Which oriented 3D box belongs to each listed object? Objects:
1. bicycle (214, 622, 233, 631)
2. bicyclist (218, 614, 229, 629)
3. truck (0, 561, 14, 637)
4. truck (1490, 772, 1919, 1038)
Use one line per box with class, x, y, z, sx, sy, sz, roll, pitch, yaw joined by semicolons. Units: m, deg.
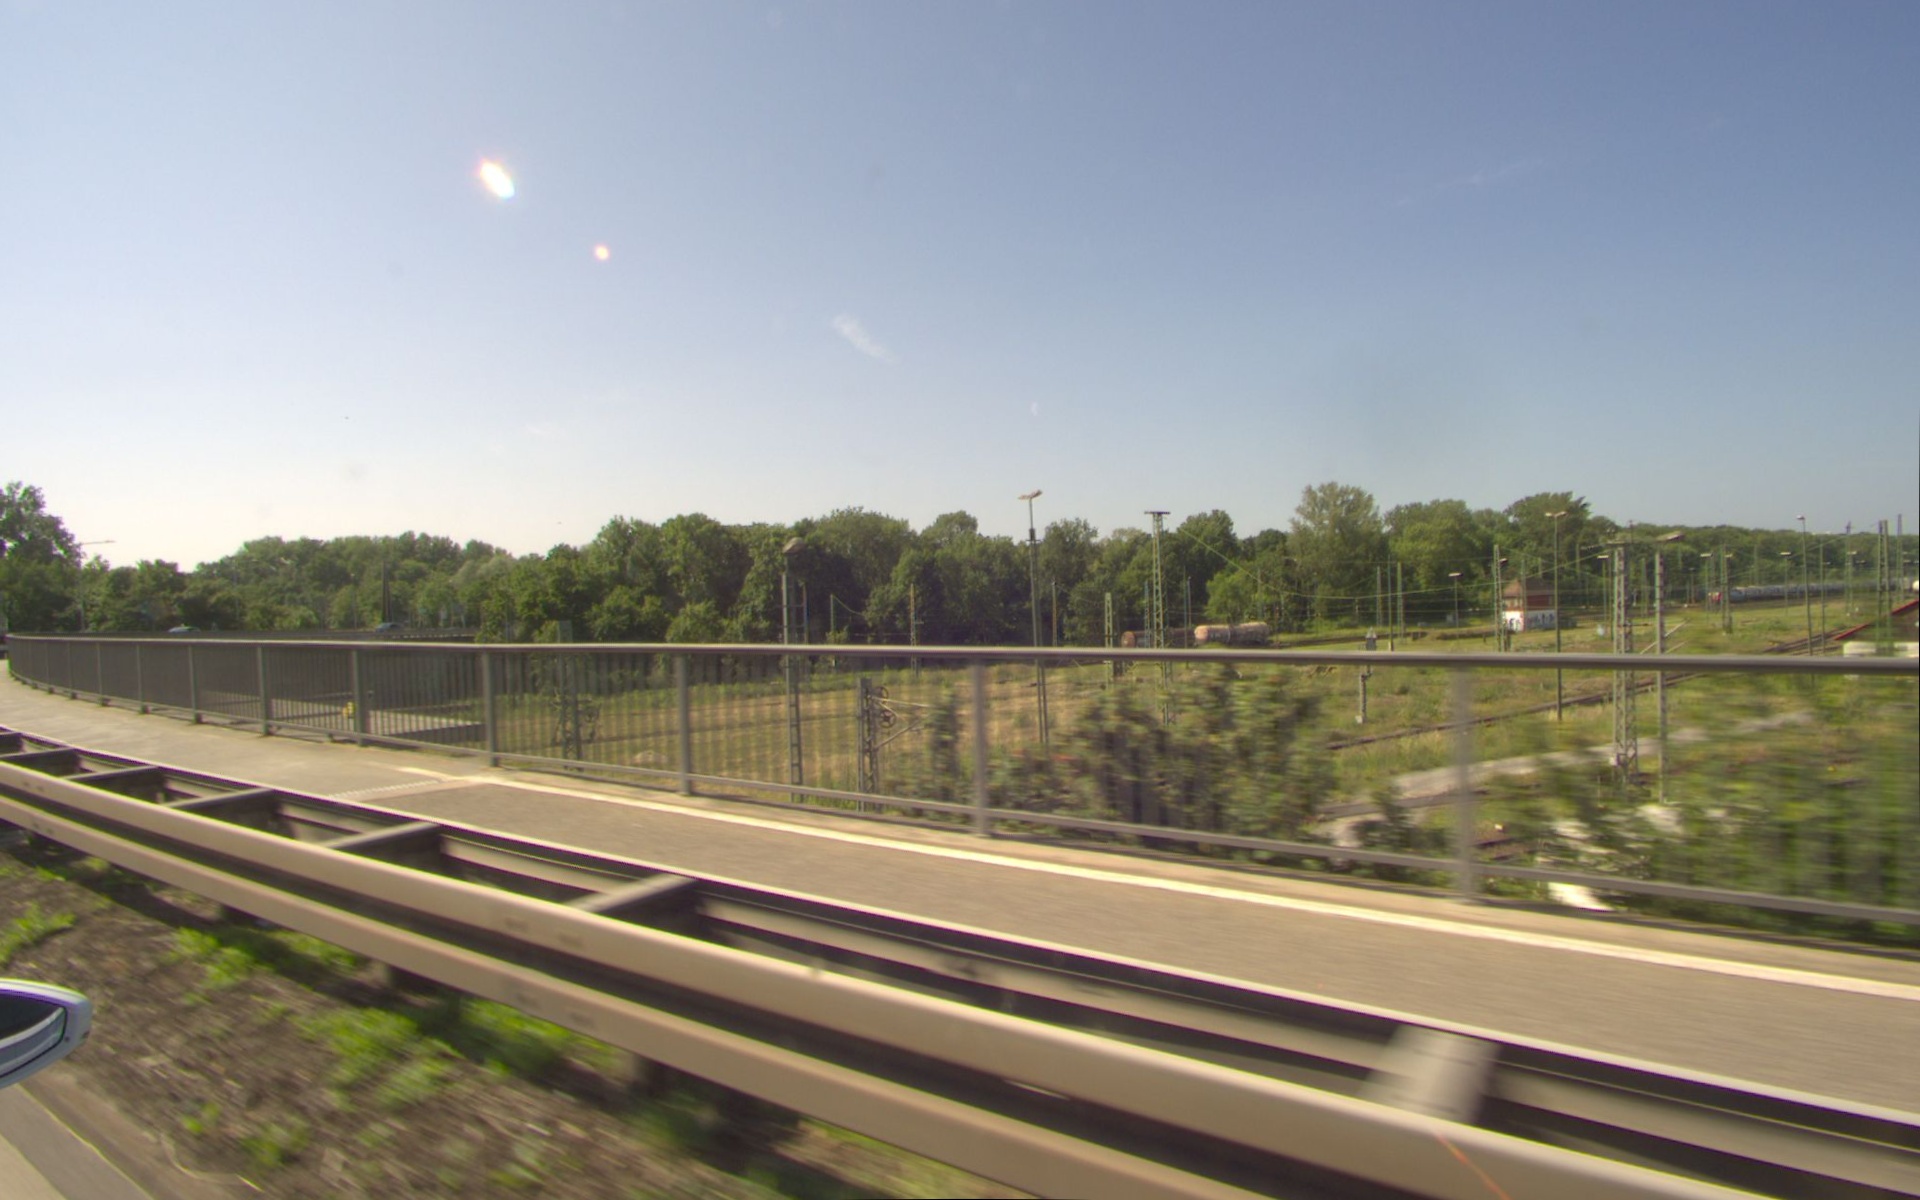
bicycle;-76.172;2.775;103.573;0.914;0.902;1.964;0;-1;-15
bicyclist;-76.124;2.173;103.519;0.650;1.516;1.014;0;1;-16
truck;-48.501;-0.100;48.075;3.231;3.806;8.311;2;-1;-35
truck;19.492;6.717;23.363;13.021;4.085;3.818;-1;2;-10
